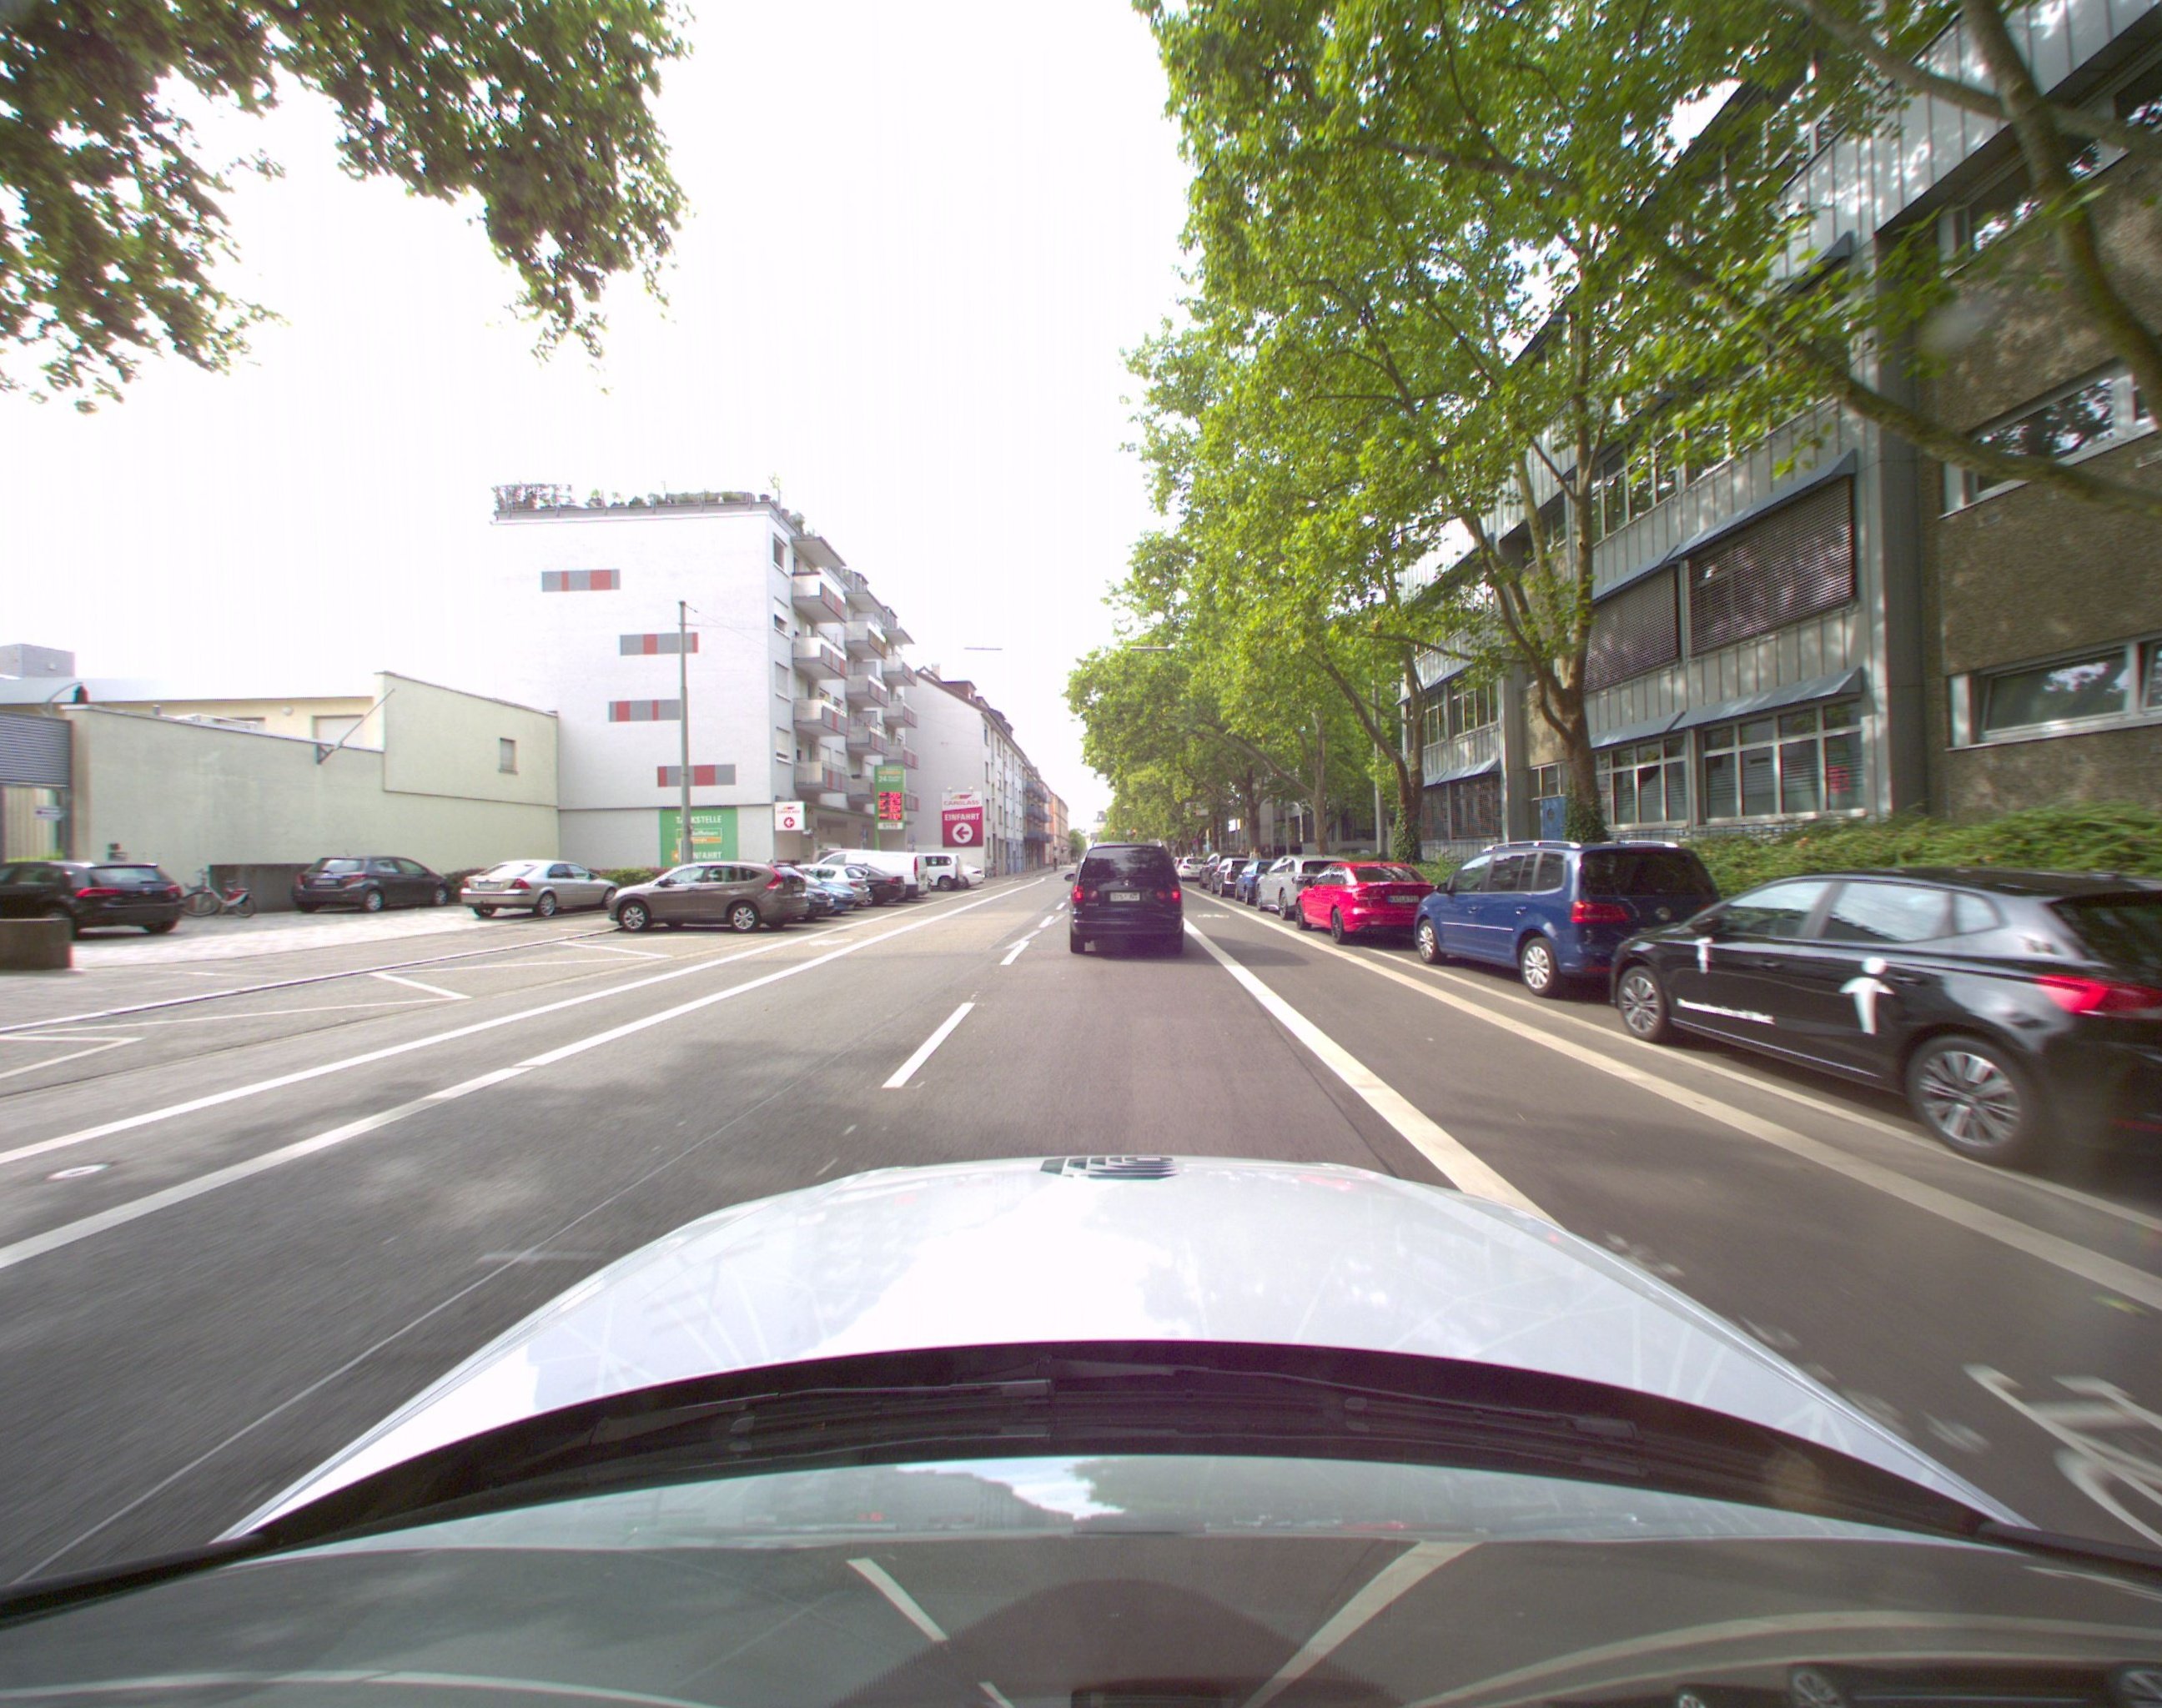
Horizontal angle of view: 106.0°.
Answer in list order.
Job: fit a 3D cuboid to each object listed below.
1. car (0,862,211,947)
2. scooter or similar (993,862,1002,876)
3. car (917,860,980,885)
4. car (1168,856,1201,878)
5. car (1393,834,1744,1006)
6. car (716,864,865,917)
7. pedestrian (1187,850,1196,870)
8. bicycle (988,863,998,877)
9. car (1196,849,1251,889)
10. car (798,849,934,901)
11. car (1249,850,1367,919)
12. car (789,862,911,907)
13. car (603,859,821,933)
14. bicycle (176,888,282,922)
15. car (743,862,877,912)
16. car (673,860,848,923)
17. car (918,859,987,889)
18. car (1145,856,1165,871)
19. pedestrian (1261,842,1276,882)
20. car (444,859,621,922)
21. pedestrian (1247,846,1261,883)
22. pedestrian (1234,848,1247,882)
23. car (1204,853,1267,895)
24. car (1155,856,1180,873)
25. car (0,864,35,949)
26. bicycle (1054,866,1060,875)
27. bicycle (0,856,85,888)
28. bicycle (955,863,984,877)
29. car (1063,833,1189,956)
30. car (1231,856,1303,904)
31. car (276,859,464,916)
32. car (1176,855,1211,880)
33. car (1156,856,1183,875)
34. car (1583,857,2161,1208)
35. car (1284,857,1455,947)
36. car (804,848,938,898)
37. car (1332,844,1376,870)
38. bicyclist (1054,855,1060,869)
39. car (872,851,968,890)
[{"bbox_3d":[-19.787,0.921,15.805,3.967,1.465,1.921,0,1,6],"label":"car"},{"bbox_3d":[-6.530,1.151,63.827,0.630,1.034,2.012,-1,0,-4],"label":"scooter or similar"},{"bbox_3d":[-7.643,1.082,47.108,3.332,1.402,1.504,0,-1,0],"label":"car"},{"bbox_3d":[6.812,0.855,53.768,1.637,1.413,3.413,0,0,-2],"label":"car"},{"bbox_3d":[5.600,0.620,10.135,1.653,1.650,4.417,-1,0,-1],"label":"car"},{"bbox_3d":[-8.380,1.031,23.735,3.669,1.426,1.753,1,0,1],"label":"car"},{"bbox_3d":[10.198,0.553,75.034,0.764,1.831,0.516,-1,-1,2],"label":"pedestrian"},{"bbox_3d":[-6.614,1.164,61.244,0.629,1.034,2.014,0,-1,-1],"label":"bicycle"},{"bbox_3d":[6.232,0.629,36.157,1.663,1.640,4.503,1,0,0],"label":"car"},{"bbox_3d":[-8.051,0.768,30.755,4.508,1.878,2.048,1,0,2],"label":"car"},{"bbox_3d":[5.565,0.711,20.596,1.721,1.517,4.872,0,-1,1],"label":"car"},{"bbox_3d":[-7.927,1.034,28.141,3.668,1.444,1.754,1,0,1],"label":"car"},{"bbox_3d":[-8.628,0.946,19.332,4.239,1.605,1.969,0,1,2],"label":"car"},{"bbox_3d":[-20.396,1.227,19.517,1.977,0.742,0.490,-1,0,-1],"label":"bicycle"},{"bbox_3d":[-8.593,1.019,26.040,3.669,1.485,1.753,1,0,0],"label":"car"},{"bbox_3d":[-8.493,0.959,21.768,3.923,1.569,1.755,1,0,4],"label":"car"},{"bbox_3d":[-6.637,1.033,42.274,3.332,1.497,1.596,0,-1,0],"label":"car"},{"bbox_3d":[7.757,0.975,85.579,1.637,1.487,3.510,-1,0,-2],"label":"car"},{"bbox_3d":[9.379,0.374,40.822,0.640,1.975,0.693,0,1,3],"label":"pedestrian"},{"bbox_3d":[-14.515,0.894,21.897,1.751,1.519,4.236,0,0,2],"label":"car"},{"bbox_3d":[8.710,0.499,40.946,0.585,1.838,0.693,0,1,3],"label":"pedestrian"},{"bbox_3d":[7.992,0.537,40.902,0.585,1.702,0.508,0,1,3],"label":"pedestrian"},{"bbox_3d":[5.788,0.727,30.868,1.624,1.470,4.318,-1,-1,1],"label":"car"},{"bbox_3d":[7.417,0.885,70.182,1.637,1.395,3.510,0,0,-2],"label":"car"},{"bbox_3d":[-20.362,0.907,13.477,3.967,1.420,1.894,0,1,6],"label":"car"},{"bbox_3d":[-2.811,1.980,96.012,0.629,1.034,2.014,0,-3,0],"label":"bicycle"},{"bbox_3d":[-25.052,0.434,19.515,1.973,0.742,0.491,-1,0,6],"label":"bicycle"},{"bbox_3d":[-8.157,1.180,59.538,2.000,1.034,0.410,0,1,3],"label":"bicycle"},{"bbox_3d":[0.689,0.605,13.656,1.806,1.766,3.738,-1,-1,1],"label":"car"},{"bbox_3d":[5.869,0.793,26.093,1.615,1.386,4.003,1,0,3],"label":"car"},{"bbox_3d":[-19.383,0.860,22.471,1.808,1.332,3.995,0,1,-3],"label":"car"},{"bbox_3d":[6.765,0.798,49.360,1.669,1.394,4.463,0,0,2],"label":"car"},{"bbox_3d":[7.049,0.909,65.126,1.637,1.413,3.413,0,0,-2],"label":"car"},{"bbox_3d":[5.186,0.739,5.269,1.650,1.422,3.950,0,0,3],"label":"car"},{"bbox_3d":[5.164,0.792,15.252,1.670,1.394,4.461,-1,-1,1],"label":"car"},{"bbox_3d":[-8.510,0.772,33.280,4.898,1.903,2.000,1,-1,1],"label":"car"},{"bbox_3d":[16.449,0.141,49.275,1.466,1.458,3.919,0,1,2],"label":"car"},{"bbox_3d":[-2.835,0.938,96.263,0.651,1.611,0.656,0,-3,-1],"label":"bicyclist"},{"bbox_3d":[-7.859,0.800,39.968,4.293,1.870,1.824,1,-1,0],"label":"car"}]
